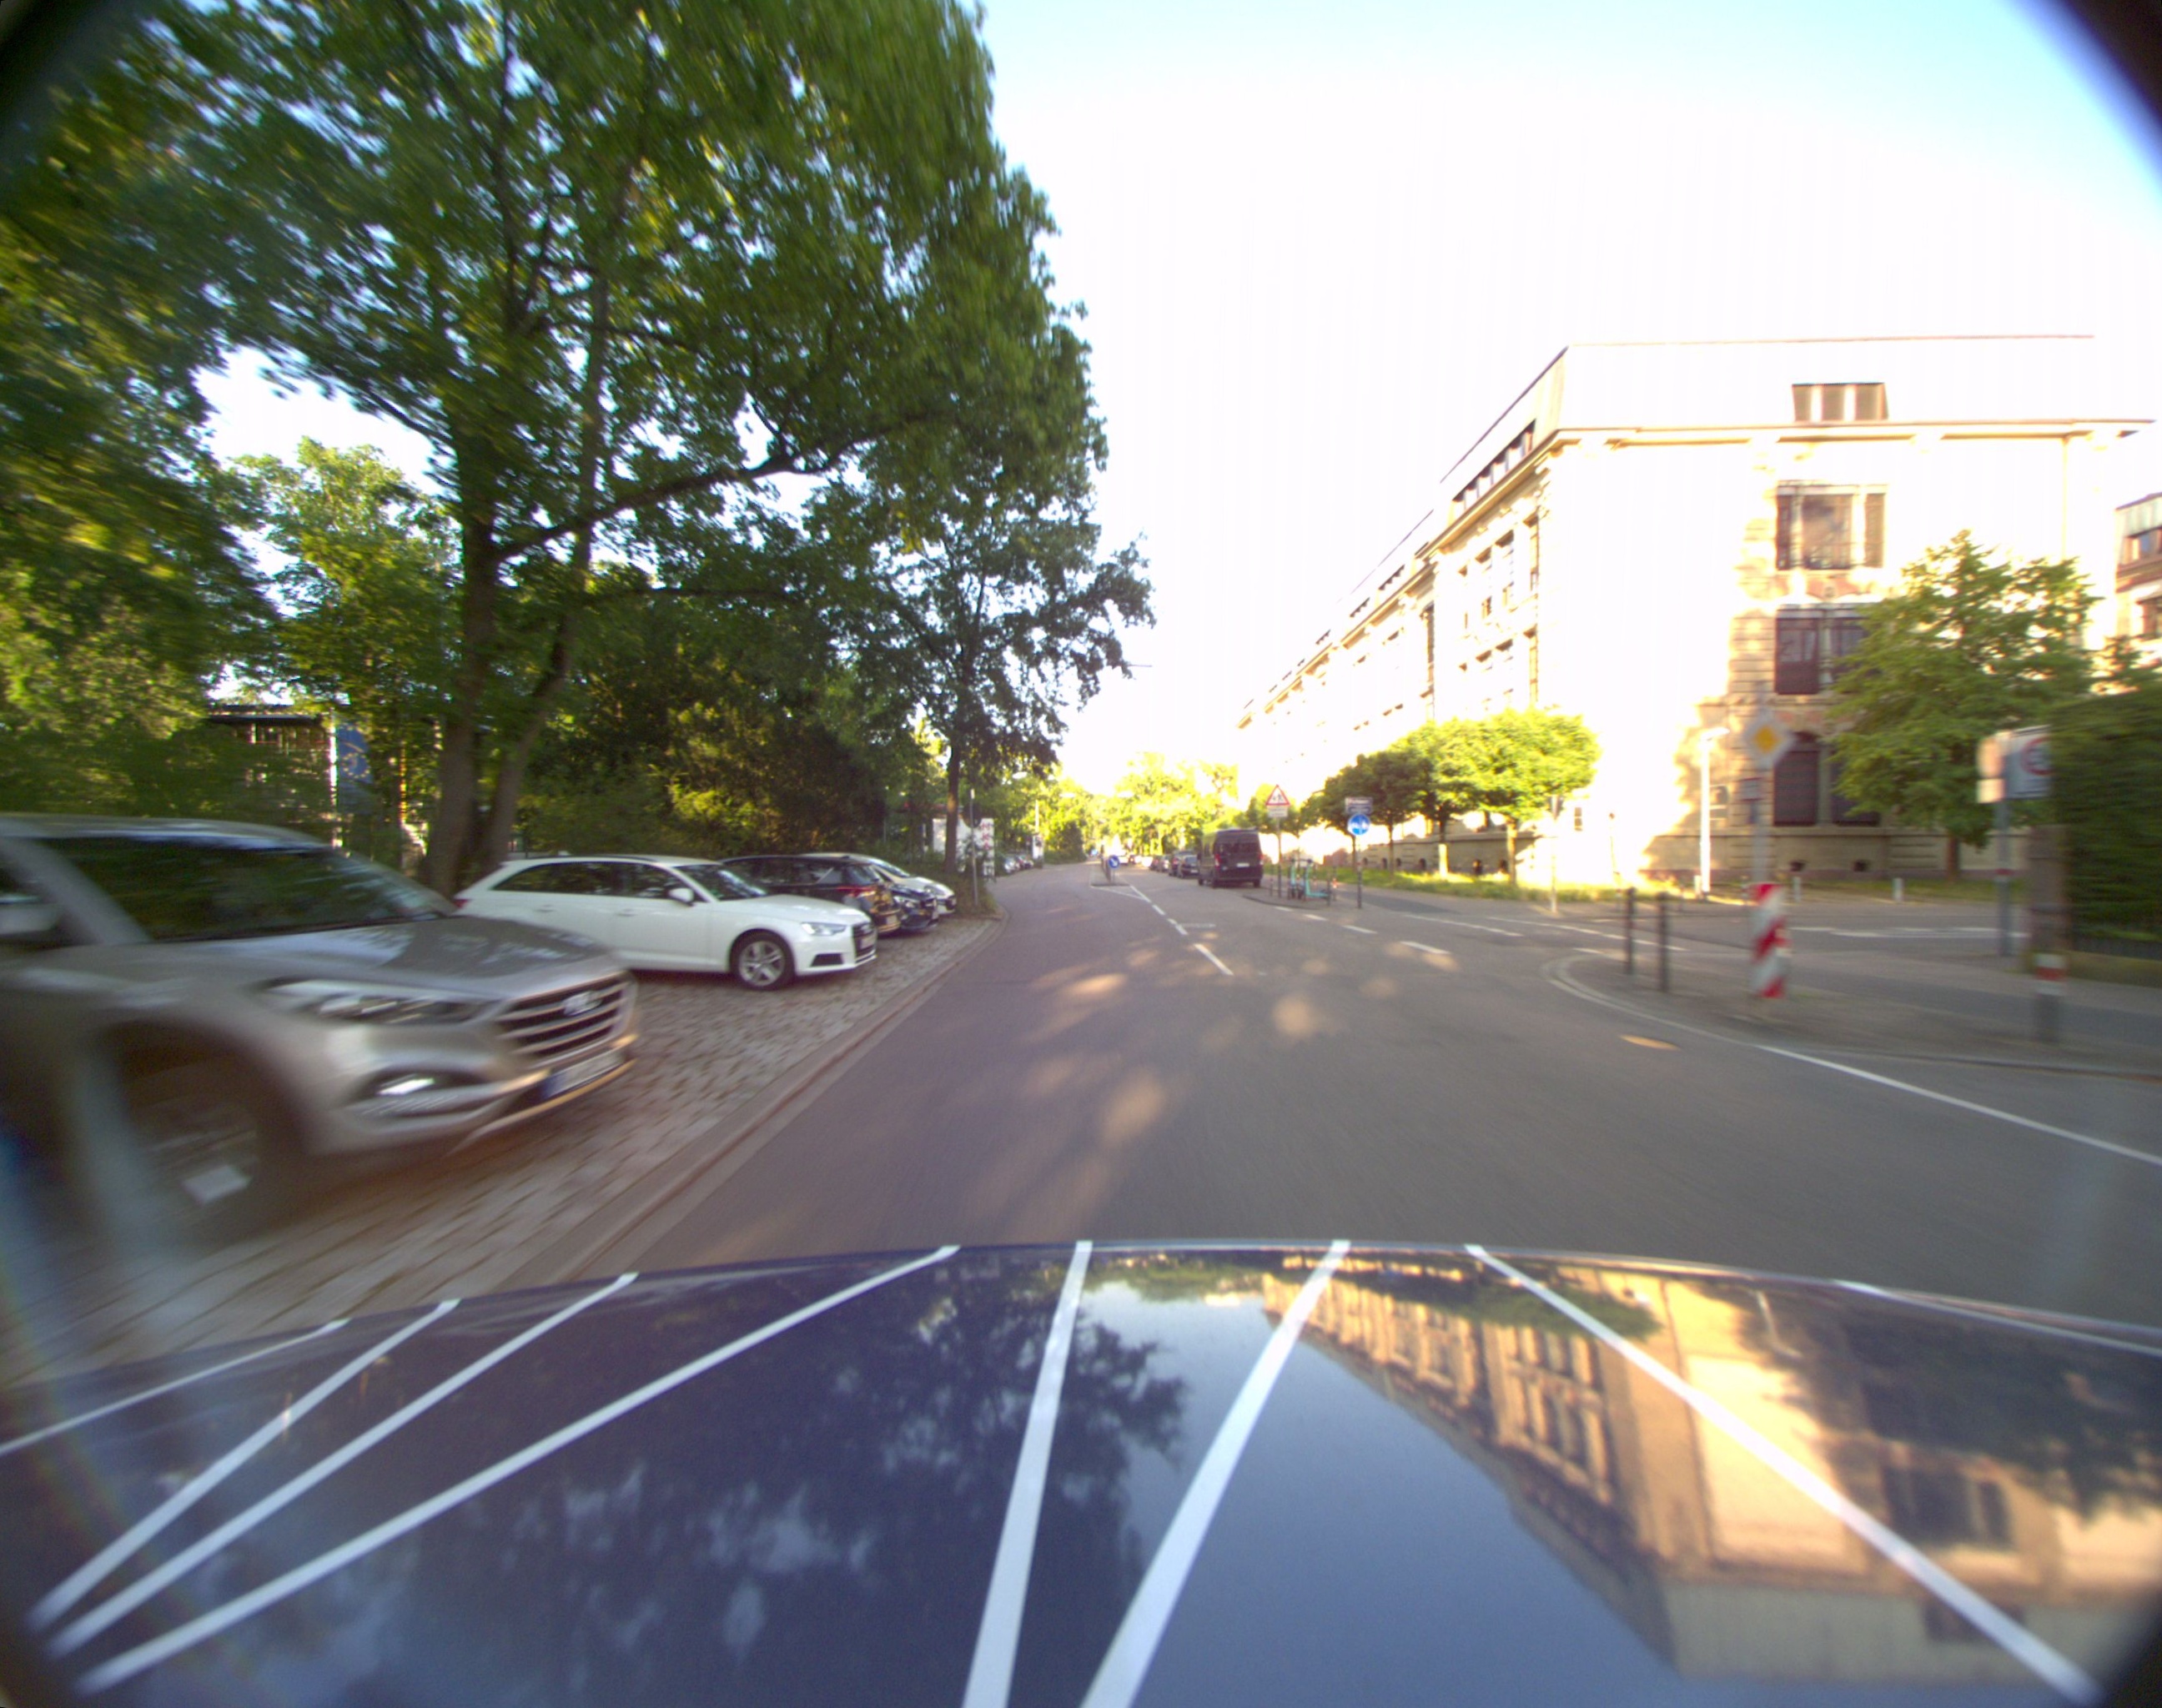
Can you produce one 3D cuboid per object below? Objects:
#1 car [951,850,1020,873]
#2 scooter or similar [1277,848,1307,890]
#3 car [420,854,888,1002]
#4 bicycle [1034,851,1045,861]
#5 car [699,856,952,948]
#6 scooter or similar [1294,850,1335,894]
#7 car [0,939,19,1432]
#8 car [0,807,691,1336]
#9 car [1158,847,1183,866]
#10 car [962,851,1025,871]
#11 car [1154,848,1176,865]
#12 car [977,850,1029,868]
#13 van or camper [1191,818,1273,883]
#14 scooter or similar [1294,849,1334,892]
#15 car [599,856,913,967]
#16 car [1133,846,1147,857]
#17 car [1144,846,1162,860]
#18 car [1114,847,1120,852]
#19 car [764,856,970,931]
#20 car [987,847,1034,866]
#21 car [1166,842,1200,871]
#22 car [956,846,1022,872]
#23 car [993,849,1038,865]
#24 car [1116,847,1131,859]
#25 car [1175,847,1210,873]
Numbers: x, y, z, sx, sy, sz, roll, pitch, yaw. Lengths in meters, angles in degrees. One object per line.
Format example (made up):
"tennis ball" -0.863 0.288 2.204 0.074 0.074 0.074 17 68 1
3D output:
"car" -7.126 0.550 57.197 4.939 1.545 1.916 1 1 0
"scooter or similar" 6.667 0.467 23.959 0.430 1.267 1.346 0 2 36
"car" -4.774 0.800 8.956 4.494 1.545 1.857 0 -1 2
"bicycle" -5.257 0.276 96.263 0.492 1.141 2.289 3 1 21
"car" -4.500 0.833 13.787 3.997 1.545 1.726 0 0 1
"scooter or similar" 7.050 0.514 22.897 1.346 1.267 0.431 -2 2 -34
"car" -4.977 0.831 1.262 3.997 1.545 1.725 0 1 1
"car" -4.533 0.715 3.591 4.318 1.794 2.035 1 1 0
"car" 7.493 0.193 64.029 1.723 1.487 4.377 -1 1 2
"car" -7.163 0.559 62.362 4.939 1.545 1.916 1 1 0
"car" 7.774 0.189 70.723 1.622 1.487 4.377 -1 1 1
"car" -6.835 0.435 67.150 4.374 1.528 1.920 1 1 0
"van or camper" 6.613 -0.184 34.141 2.235 2.530 7.078 -2 1 0
"scooter or similar" 7.224 0.504 23.582 1.346 1.267 0.431 -2 2 -34
"car" -4.743 0.816 11.500 3.997 1.545 1.752 0 0 1
"car" 8.090 -0.359 104.430 1.806 1.502 4.862 -2 1 2
"car" 7.883 -0.113 83.774 1.622 1.487 3.924 -1 1 1
"car" 10.891 -1.314 230.318 1.776 1.559 4.109 -2 0 1
"car" -4.567 0.826 16.598 3.997 1.545 1.726 0 0 1
"car" -6.992 0.273 75.667 4.374 1.770 1.920 1 1 0
"car" 7.107 0.149 53.296 1.782 1.855 4.332 -3 0 1
"car" -7.196 0.387 59.850 4.864 1.905 1.916 1 1 0
"car" -6.715 0.335 77.913 4.374 1.545 1.727 1 1 0
"car" 5.347 -0.203 95.880 1.745 1.450 4.623 0 1 0
"car" 6.934 0.318 47.582 1.700 1.462 3.854 -3 1 3
